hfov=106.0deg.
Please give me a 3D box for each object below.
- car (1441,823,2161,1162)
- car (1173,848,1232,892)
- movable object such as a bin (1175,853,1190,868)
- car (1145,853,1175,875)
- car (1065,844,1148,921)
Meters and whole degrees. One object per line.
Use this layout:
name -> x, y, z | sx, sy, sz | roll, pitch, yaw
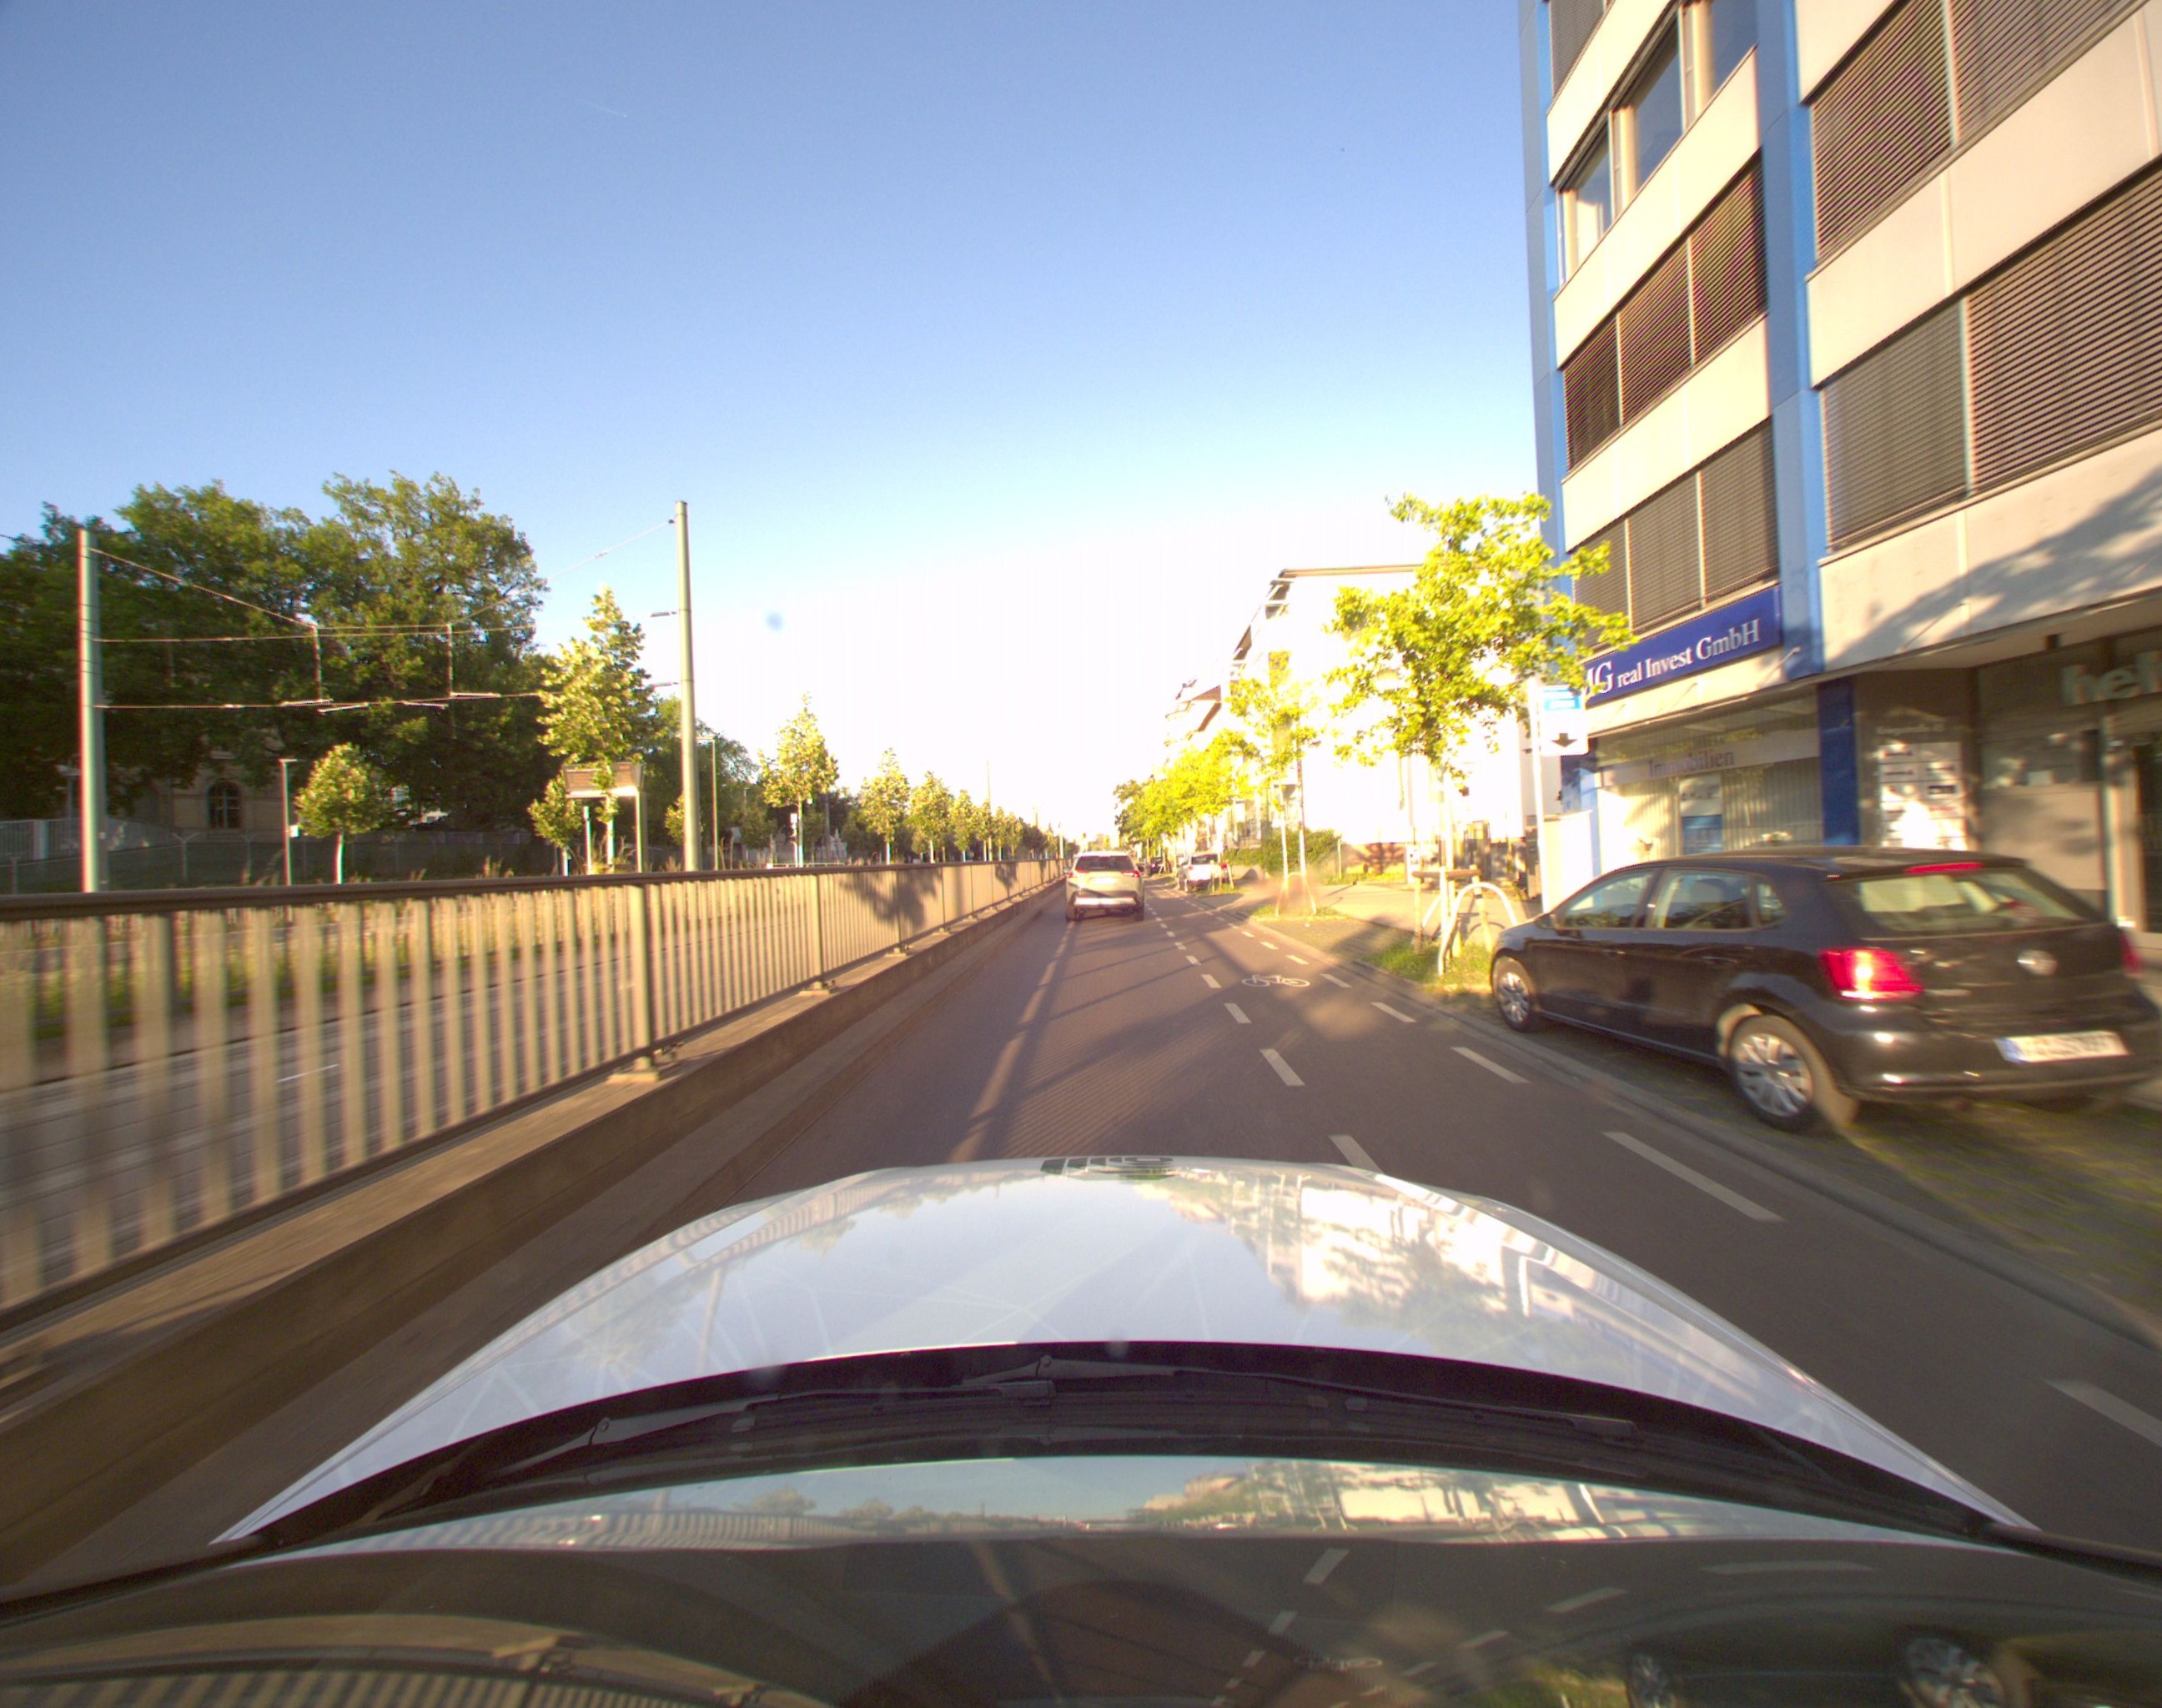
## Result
car -> 4.444, 0.637, 5.800 | 1.814, 1.454, 4.126 | -3, 0, -1
car -> 5.152, 0.658, 35.008 | 1.848, 1.706, 4.253 | -2, 0, 0
movable object such as a bin -> 9.984, 0.660, 80.119 | 1.256, 1.462, 1.123 | -2, -1, -2
car -> 6.199, 0.767, 64.235 | 1.787, 1.471, 4.443 | -5, 0, -1
car -> 0.577, 0.650, 20.438 | 1.852, 1.714, 4.191 | 0, -1, 0
